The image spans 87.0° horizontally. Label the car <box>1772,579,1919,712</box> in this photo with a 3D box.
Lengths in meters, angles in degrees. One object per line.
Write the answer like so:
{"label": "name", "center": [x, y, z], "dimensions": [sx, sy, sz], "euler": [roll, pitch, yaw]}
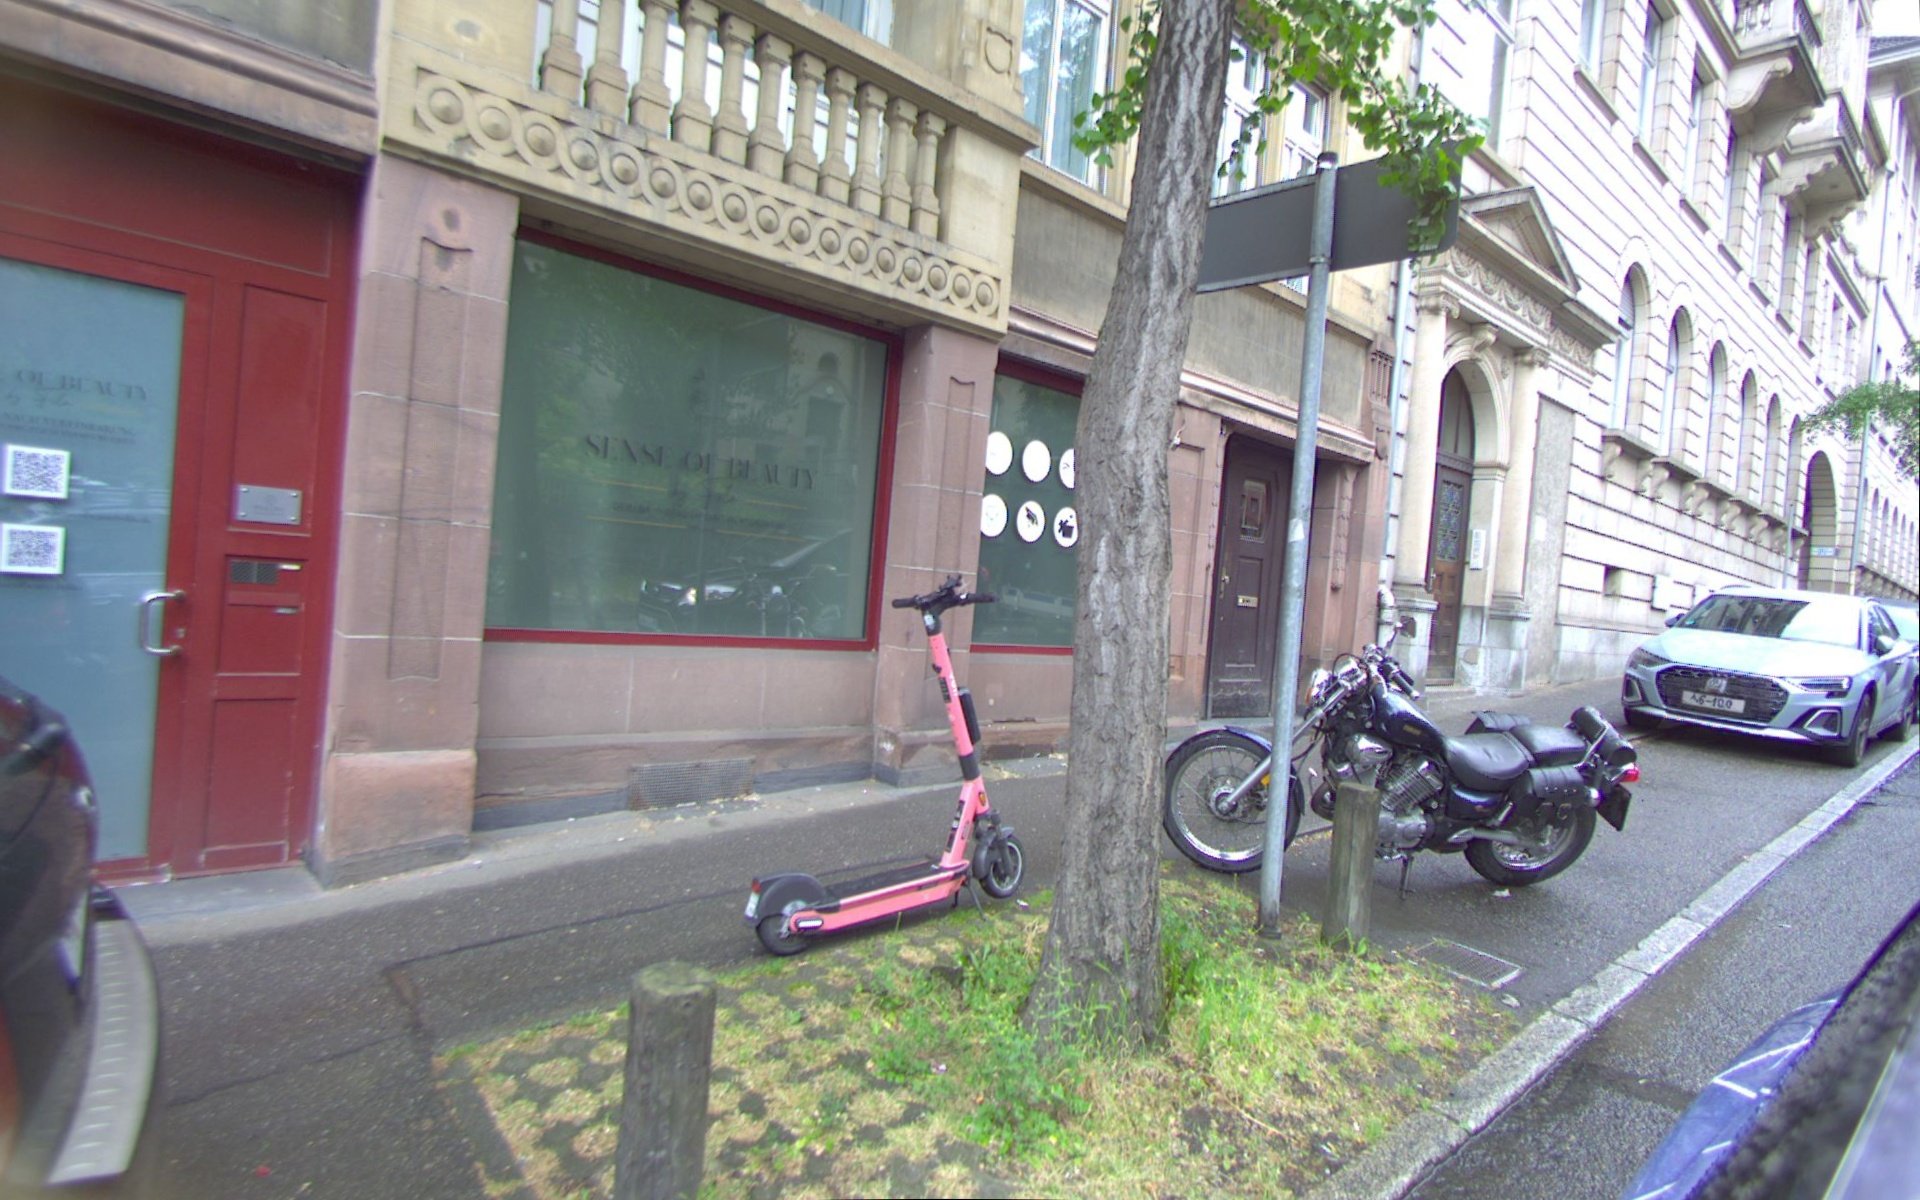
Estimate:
{"label": "car", "center": [12.183, 0.540, 13.452], "dimensions": [3.124, 1.466, 1.496], "euler": [0, 5, -40]}

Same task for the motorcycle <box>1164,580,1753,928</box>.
{"label": "motorcycle", "center": [2.124, 0.649, 4.469], "dimensions": [2.232, 1.258, 0.525], "euler": [5, 3, -2]}

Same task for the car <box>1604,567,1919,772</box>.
{"label": "car", "center": [8.038, 0.528, 9.845], "dimensions": [3.967, 1.469, 1.795], "euler": [0, 5, -40]}

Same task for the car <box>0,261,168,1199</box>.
{"label": "car", "center": [-2.803, 0.457, 0.271], "dimensions": [4.025, 1.670, 1.765], "euler": [0, 7, -40]}

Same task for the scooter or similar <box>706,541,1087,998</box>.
{"label": "scooter or similar", "center": [-0.198, 0.489, 3.578], "dimensions": [1.182, 1.334, 0.594], "euler": [0, 3, -41]}
